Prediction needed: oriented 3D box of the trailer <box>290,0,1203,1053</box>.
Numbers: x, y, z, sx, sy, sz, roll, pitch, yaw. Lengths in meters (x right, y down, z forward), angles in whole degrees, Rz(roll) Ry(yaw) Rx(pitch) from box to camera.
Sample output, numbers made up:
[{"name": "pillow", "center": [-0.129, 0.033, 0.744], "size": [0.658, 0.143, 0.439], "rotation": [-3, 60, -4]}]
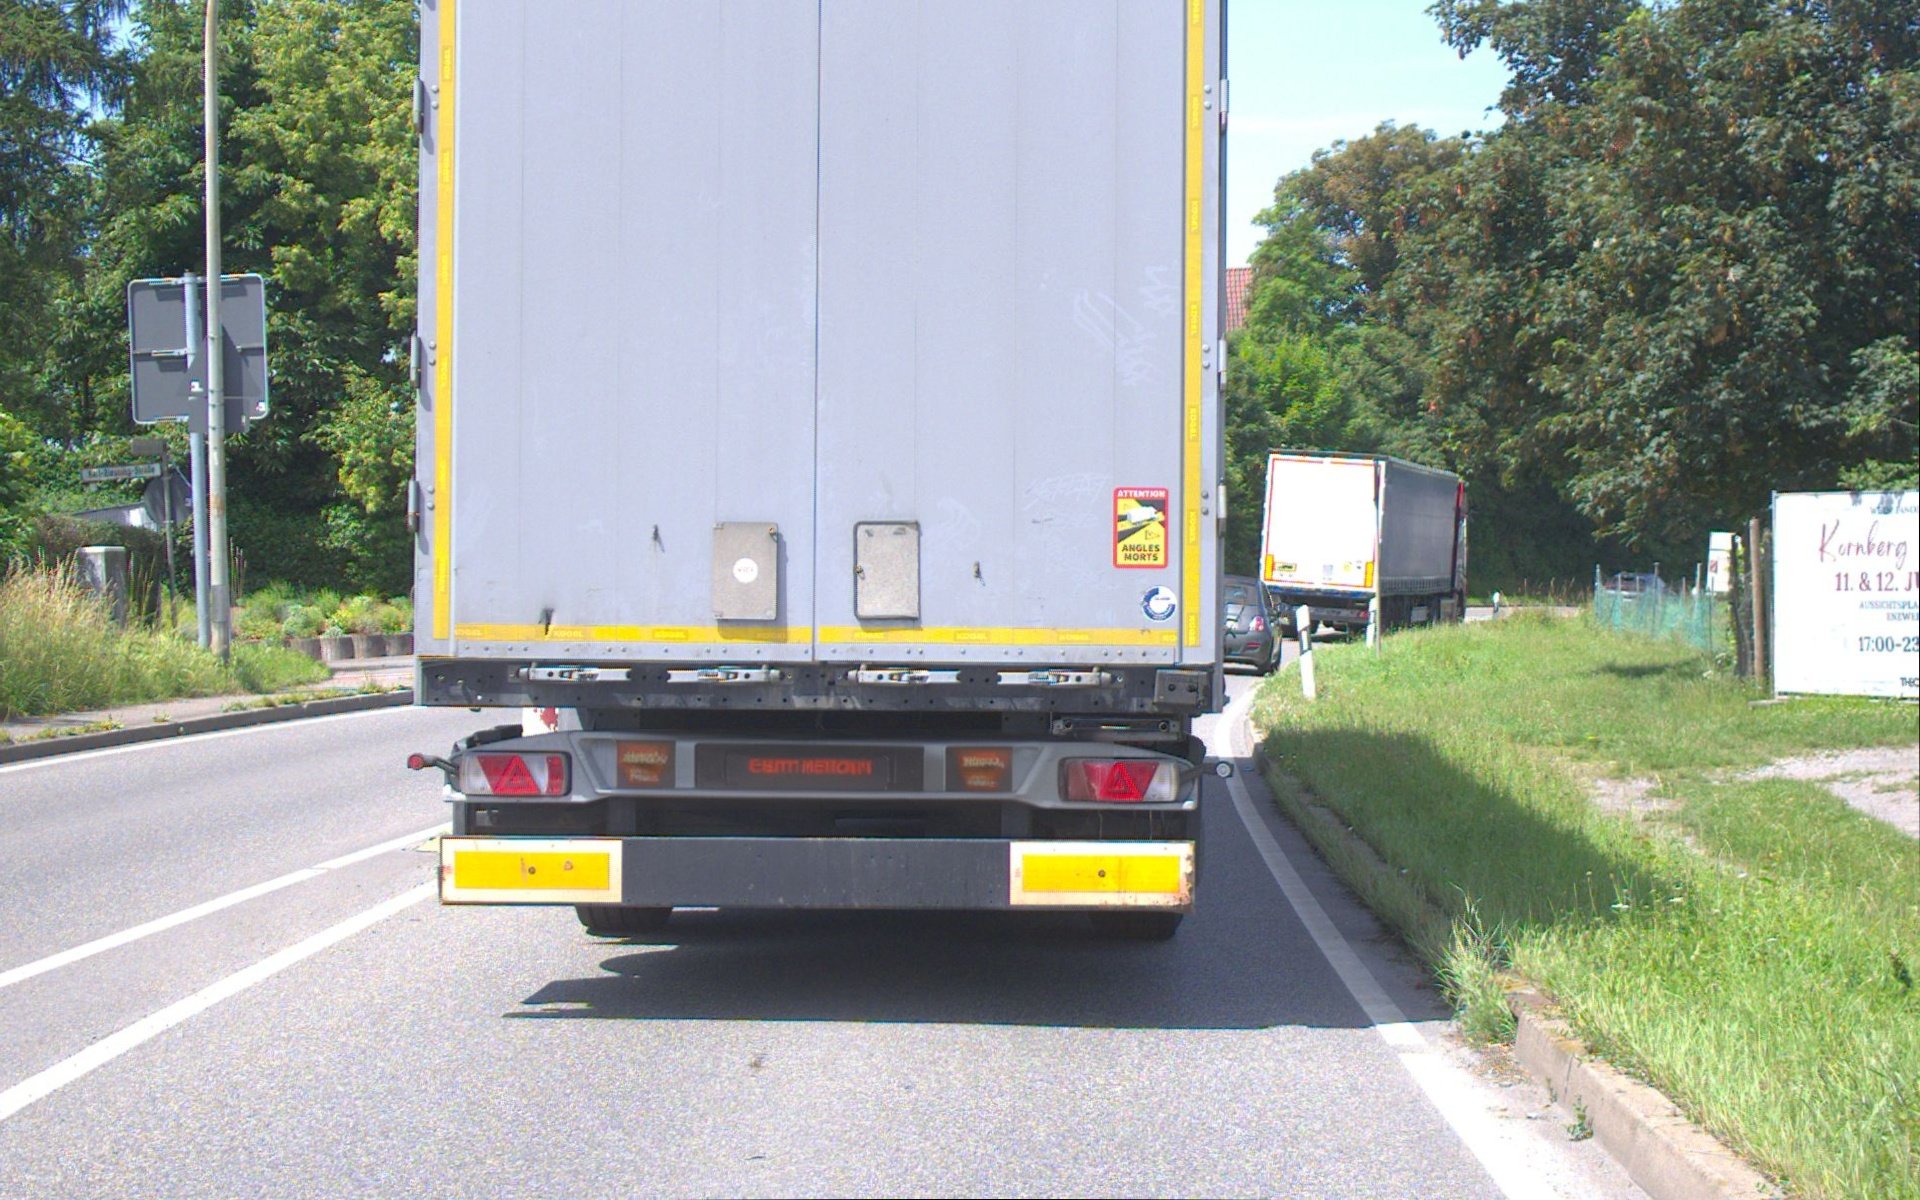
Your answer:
[{"name": "trailer", "center": [-0.274, -0.879, 16.493], "size": [2.787, 4.191, 12.110], "rotation": [0, 1, 4]}]

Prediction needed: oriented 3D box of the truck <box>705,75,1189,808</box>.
[{"name": "truck", "center": [0.121, -0.978, 22.633], "size": [2.746, 4.151, 6.142], "rotation": [0, 1, 4]}]

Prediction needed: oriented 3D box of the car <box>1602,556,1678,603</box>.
[{"name": "car", "center": [22.634, -0.684, 114.357], "size": [1.843, 1.481, 3.996], "rotation": [0, 1, 21]}]

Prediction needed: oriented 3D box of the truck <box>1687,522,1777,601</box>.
[{"name": "truck", "center": [28.323, -1.444, 126.027], "size": [2.423, 2.828, 5.406], "rotation": [0, 1, 21]}]

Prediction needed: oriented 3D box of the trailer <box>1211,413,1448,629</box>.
[{"name": "trailer", "center": [8.613, -1.739, 78.241], "size": [3.893, 4.505, 12.706], "rotation": [0, 1, 13]}]

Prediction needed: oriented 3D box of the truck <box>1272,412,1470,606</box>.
[{"name": "truck", "center": [10.235, -2.193, 84.940], "size": [3.939, 4.559, 7.147], "rotation": [0, 1, 14]}]

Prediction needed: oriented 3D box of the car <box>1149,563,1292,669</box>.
[{"name": "car", "center": [4.079, 0.215, 53.338], "size": [1.994, 1.525, 3.999], "rotation": [0, 1, 7]}]
